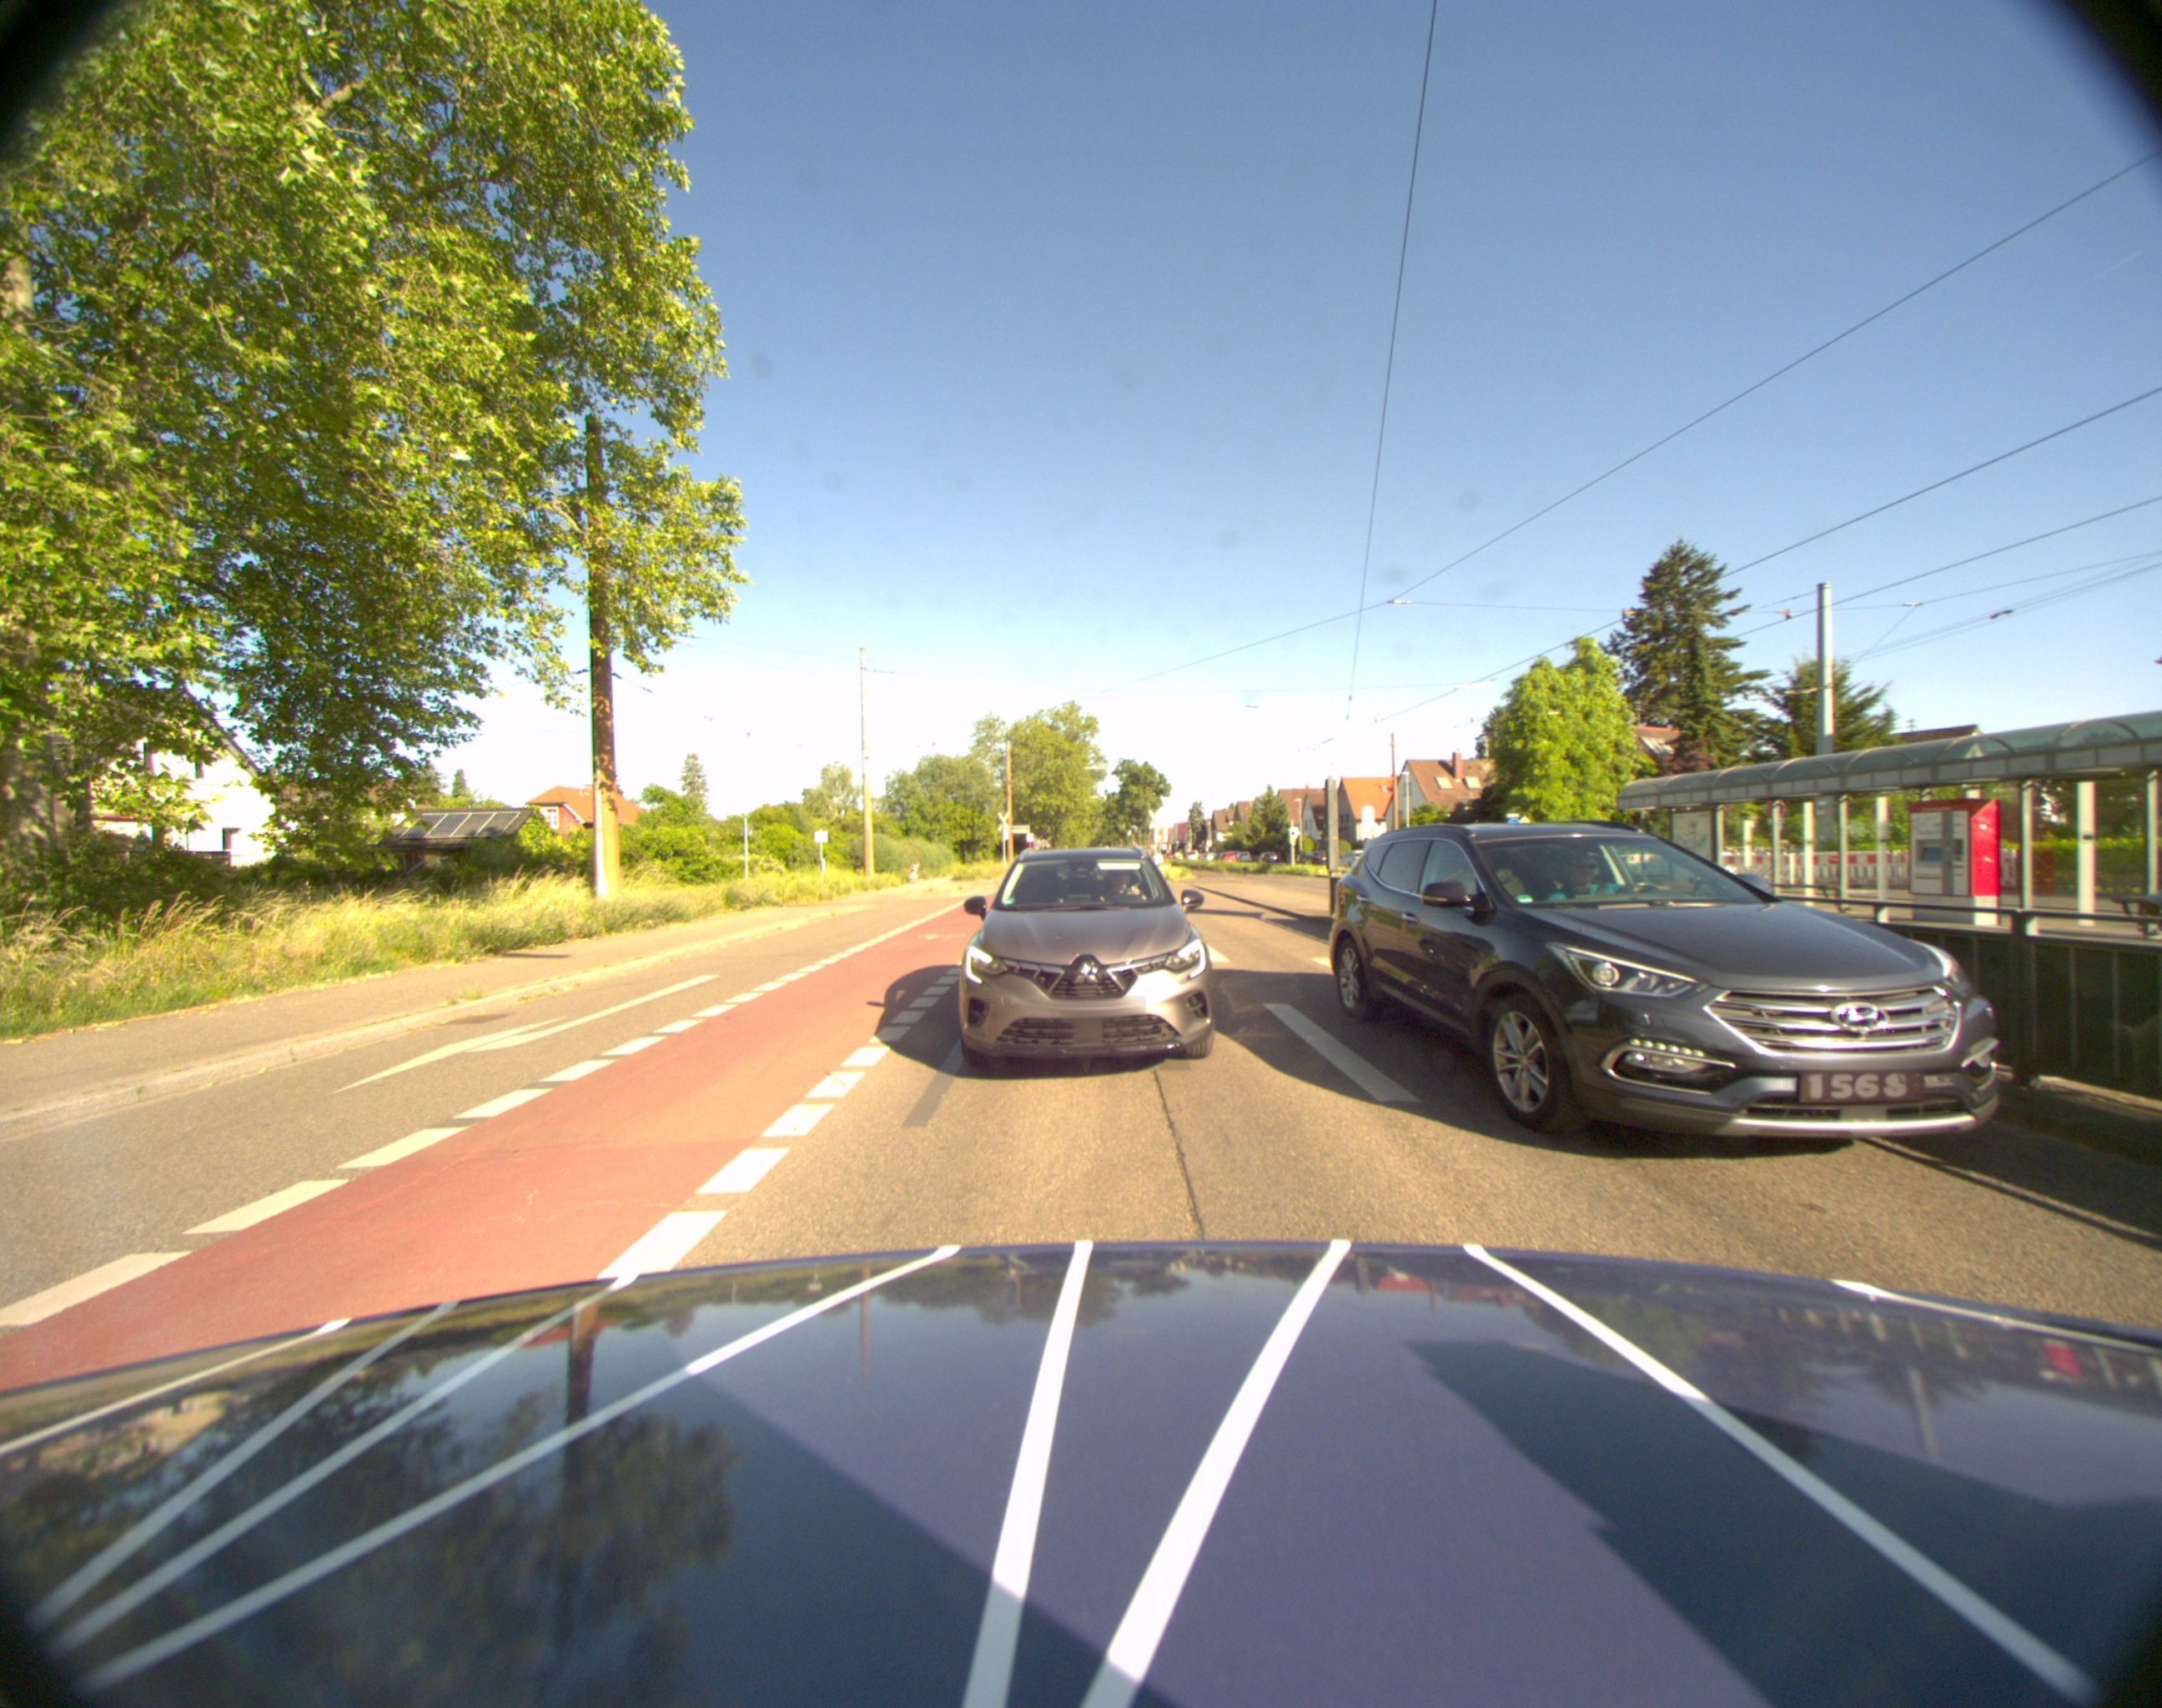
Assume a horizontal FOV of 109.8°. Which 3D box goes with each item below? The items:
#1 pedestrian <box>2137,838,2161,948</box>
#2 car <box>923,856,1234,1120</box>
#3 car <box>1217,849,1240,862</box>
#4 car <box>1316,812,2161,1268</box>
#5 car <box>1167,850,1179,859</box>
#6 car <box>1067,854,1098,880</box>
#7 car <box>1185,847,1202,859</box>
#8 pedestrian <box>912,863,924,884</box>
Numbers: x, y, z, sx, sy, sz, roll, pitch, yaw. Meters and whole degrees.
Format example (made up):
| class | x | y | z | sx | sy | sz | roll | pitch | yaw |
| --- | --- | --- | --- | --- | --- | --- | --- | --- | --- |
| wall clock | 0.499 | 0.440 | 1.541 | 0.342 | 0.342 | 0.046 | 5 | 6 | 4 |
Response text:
| class | x | y | z | sx | sy | sz | roll | pitch | yaw |
| --- | --- | --- | --- | --- | --- | --- | --- | --- | --- |
| pedestrian | 14.089 | 0.492 | 9.560 | 0.623 | 1.406 | 0.711 | -1 | 1 | -1 |
| car | 0.010 | 0.813 | 6.459 | 1.839 | 1.541 | 3.816 | -1 | 0 | 1 |
| car | 17.154 | 0.128 | 88.431 | 1.998 | 1.455 | 4.000 | -1 | 0 | 1 |
| car | 3.188 | 0.696 | 5.010 | 1.886 | 1.686 | 4.300 | -1 | 0 | -1 |
| car | 17.850 | 0.128 | 147.382 | 1.998 | 1.652 | 4.000 | -1 | 0 | 1 |
| car | 0.150 | 0.806 | 48.274 | 1.839 | 1.541 | 3.816 | -1 | 0 | 1 |
| car | 17.511 | -0.175 | 118.441 | 1.998 | 1.761 | 4.000 | -1 | 0 | 1 |
| pedestrian | -8.003 | 0.945 | 37.359 | 0.482 | 1.027 | 0.454 | -1 | 1 | 1 |
